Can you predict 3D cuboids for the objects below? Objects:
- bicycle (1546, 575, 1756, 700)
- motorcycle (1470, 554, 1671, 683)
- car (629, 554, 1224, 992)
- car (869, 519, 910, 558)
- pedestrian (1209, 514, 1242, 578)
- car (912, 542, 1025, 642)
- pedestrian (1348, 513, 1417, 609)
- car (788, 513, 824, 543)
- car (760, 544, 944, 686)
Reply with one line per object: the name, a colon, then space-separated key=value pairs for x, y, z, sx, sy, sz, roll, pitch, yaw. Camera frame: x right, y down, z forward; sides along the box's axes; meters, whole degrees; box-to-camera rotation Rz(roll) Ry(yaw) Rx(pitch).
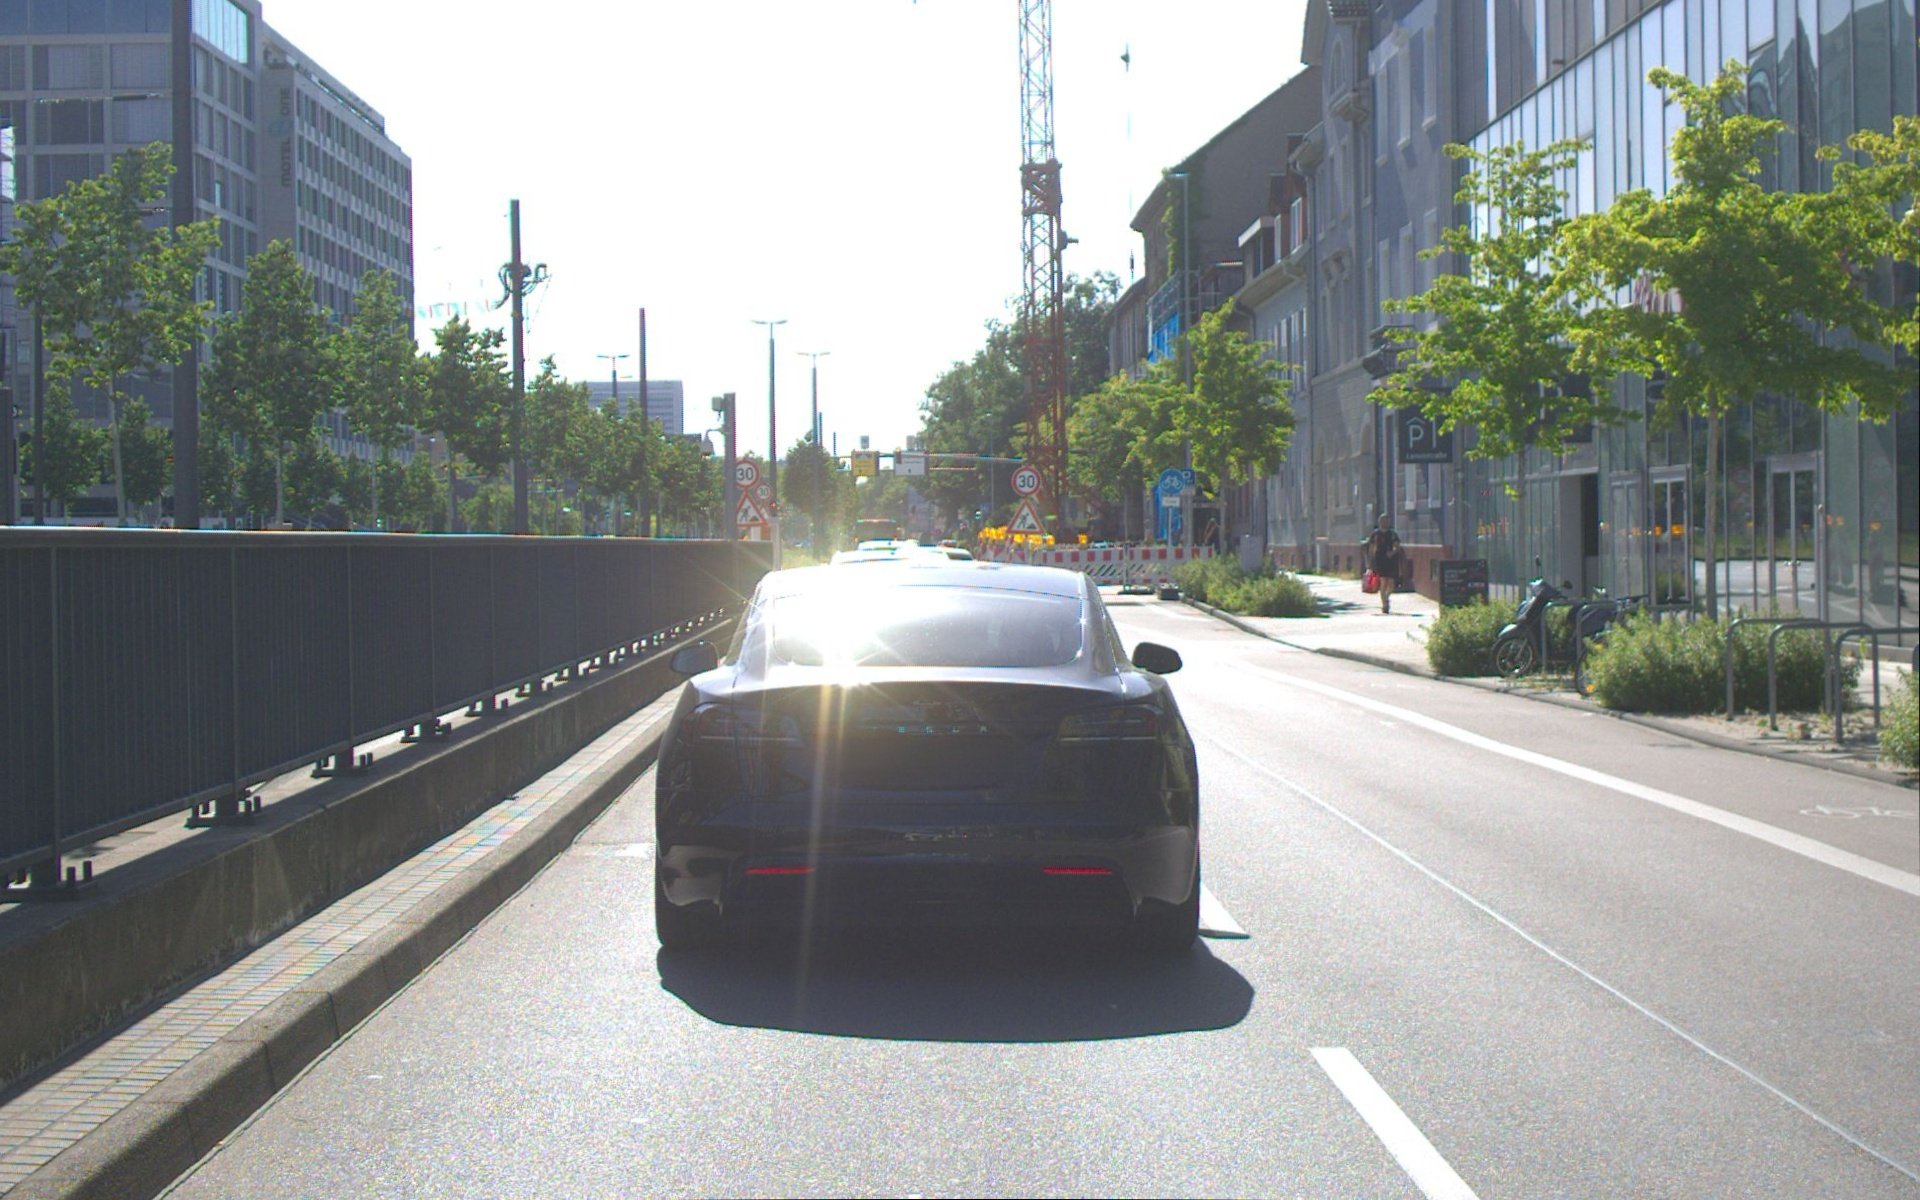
bicycle: x=6.835 y=0.365 z=34.040 sx=1.881 sy=1.147 sz=0.672 roll=-2 pitch=1 yaw=-10
motorcycle: x=6.865 y=0.213 z=38.679 sx=2.075 sy=1.349 sz=0.652 roll=-3 pitch=0 yaw=23
car: x=-0.003 y=0.549 z=13.779 sx=1.999 sy=1.429 sz=4.412 roll=0 pitch=1 yaw=3
car: x=-3.333 y=-2.922 z=162.781 sx=1.814 sy=1.803 sz=4.039 roll=0 pitch=1 yaw=1
pedestrian: x=7.790 y=-1.573 z=100.822 sx=0.851 sy=1.857 sz=0.930 roll=-1 pitch=1 yaw=-2
car: x=0.157 y=-0.154 z=56.336 sx=1.784 sy=1.540 sz=4.039 roll=0 pitch=1 yaw=1
pedestrian: x=8.265 y=-0.767 z=67.292 sx=1.095 sy=1.857 sz=1.523 roll=-1 pitch=1 yaw=-2
car: x=-8.918 y=-4.179 z=199.025 sx=1.993 sy=1.678 sz=4.000 roll=1 pitch=1 yaw=-2
car: x=-1.037 y=0.108 z=34.868 sx=1.716 sy=1.315 sz=4.000 roll=0 pitch=1 yaw=0
